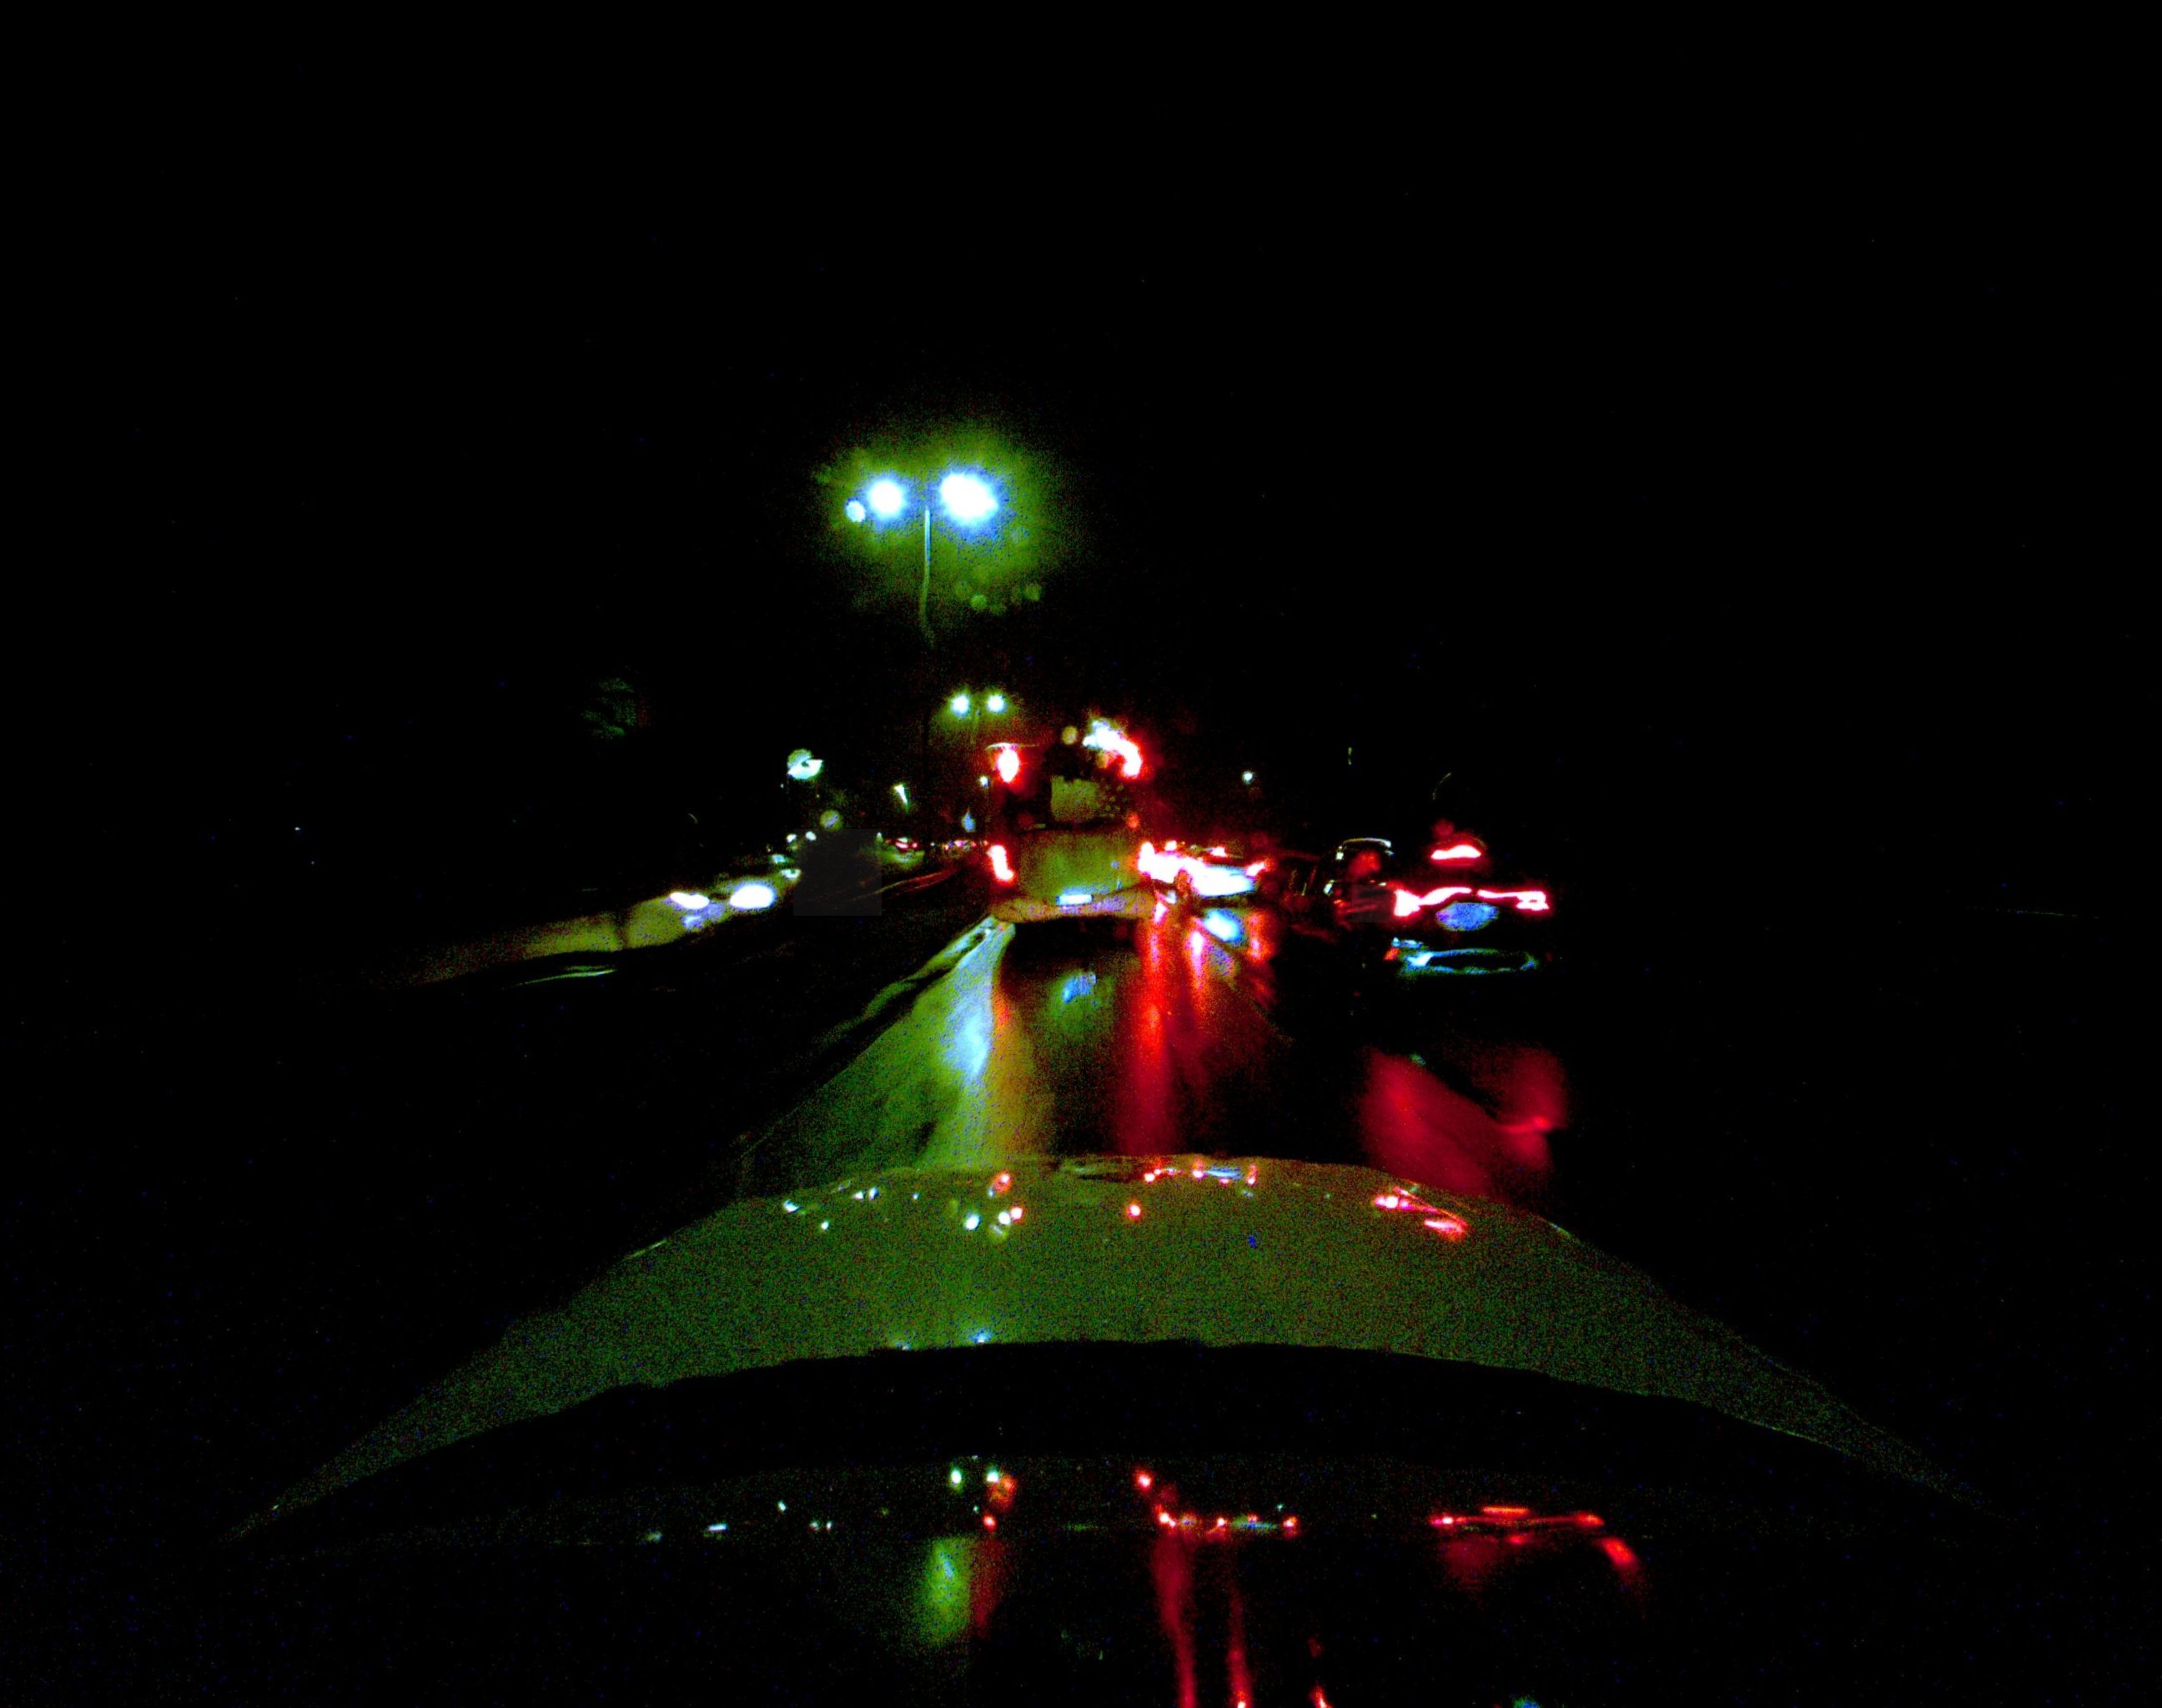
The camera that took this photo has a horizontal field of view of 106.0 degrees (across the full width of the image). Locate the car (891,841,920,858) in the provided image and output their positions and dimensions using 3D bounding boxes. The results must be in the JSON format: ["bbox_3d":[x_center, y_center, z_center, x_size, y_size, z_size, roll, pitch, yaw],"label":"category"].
[{"bbox_3d":[-21.987,-0.505,101.779,2.227,2.013,3.959,-2,1,-33],"label":"car"}]

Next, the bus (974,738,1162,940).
[{"bbox_3d":[-0.179,-0.283,16.668,2.806,3.024,8.687,-1,1,0],"label":"bus"}]

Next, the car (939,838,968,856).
[{"bbox_3d":[-15.115,-0.844,96.271,2.007,2.013,3.959,-2,1,-32],"label":"car"}]

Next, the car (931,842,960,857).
[{"bbox_3d":[-15.117,-0.492,90.916,1.764,1.631,3.584,0,0,-36],"label":"car"}]

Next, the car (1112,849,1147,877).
[{"bbox_3d":[2.732,0.477,46.656,1.774,1.543,3.874,0,1,0],"label":"car"}]

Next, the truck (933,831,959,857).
[{"bbox_3d":[-13.844,-1.049,83.180,1.861,2.392,4.751,-3,4,-18],"label":"truck"}]

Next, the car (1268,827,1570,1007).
[{"bbox_3d":[3.400,0.526,9.025,1.734,1.564,3.775,0,1,-1],"label":"car"}]

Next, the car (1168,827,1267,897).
[{"bbox_3d":[3.412,0.168,21.037,1.815,1.590,3.775,-2,1,-1],"label":"car"}]

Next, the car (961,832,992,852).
[{"bbox_3d":[-10.687,-1.180,82.966,2.003,2.013,3.968,0,0,-24],"label":"car"}]

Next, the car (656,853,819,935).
[{"bbox_3d":[-7.503,0.781,18.312,1.812,1.394,4.457,-5,1,-3],"label":"car"}]

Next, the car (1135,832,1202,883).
[{"bbox_3d":[2.950,0.097,28.226,1.815,1.590,3.775,-2,1,-1],"label":"car"}]

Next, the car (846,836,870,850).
[{"bbox_3d":[-31.577,-1.508,115.201,2.008,2.013,3.957,0,0,-35],"label":"car"}]

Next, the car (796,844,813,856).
[{"bbox_3d":[-45.084,-0.651,132.688,1.994,1.686,3.987,1,2,-10],"label":"car"}]
